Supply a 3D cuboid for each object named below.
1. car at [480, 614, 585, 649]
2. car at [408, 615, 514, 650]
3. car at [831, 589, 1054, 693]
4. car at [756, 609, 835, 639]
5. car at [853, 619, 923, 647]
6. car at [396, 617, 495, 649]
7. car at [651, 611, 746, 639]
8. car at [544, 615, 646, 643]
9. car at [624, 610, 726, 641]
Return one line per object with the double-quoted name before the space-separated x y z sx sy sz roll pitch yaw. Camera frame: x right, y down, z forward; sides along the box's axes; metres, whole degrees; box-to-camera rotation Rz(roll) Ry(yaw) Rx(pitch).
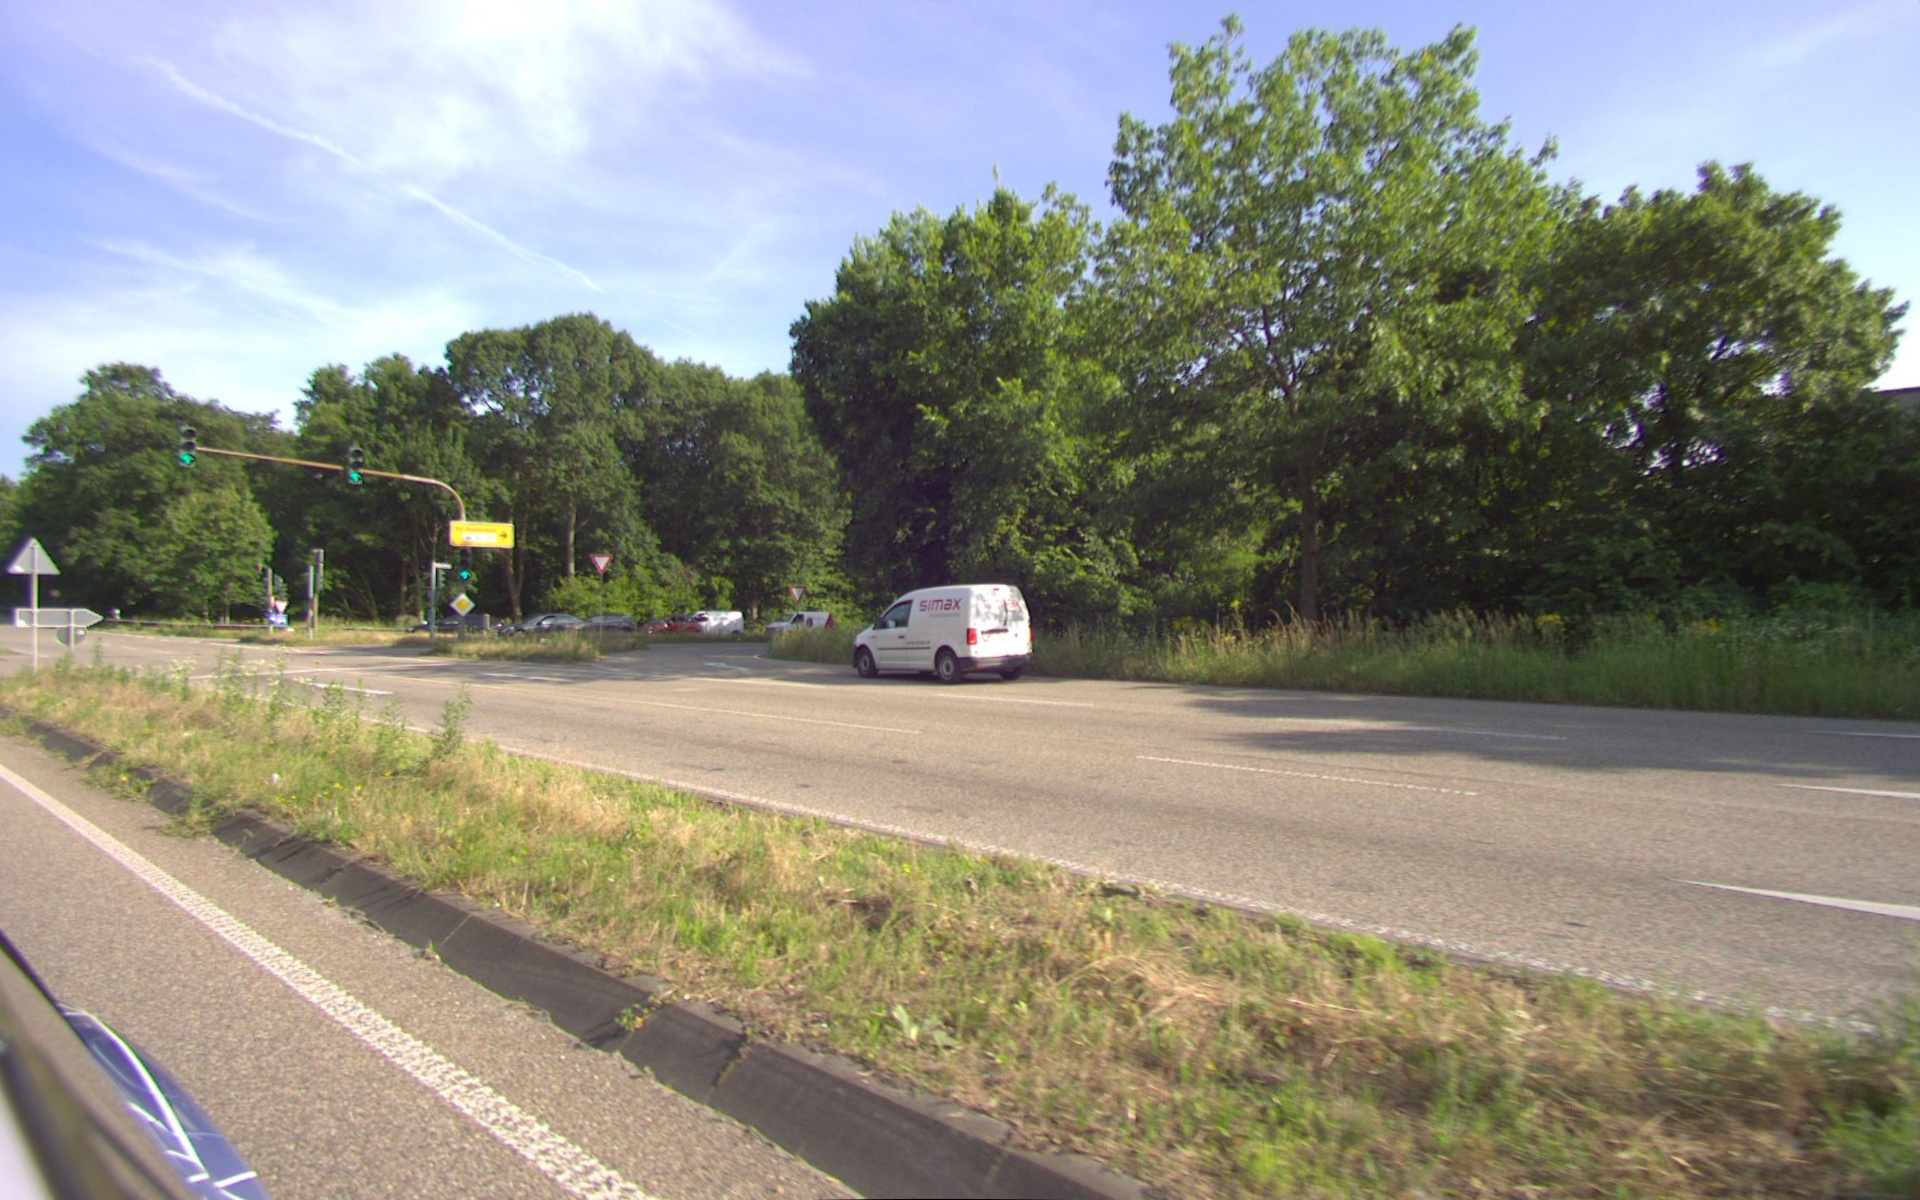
"car" -20.951 1.495 49.742 1.996 1.501 4.368 0 1 36
"car" -24.640 1.573 50.041 4.355 1.501 2.002 -1 1 -43
"car" -0.476 0.700 19.930 1.827 1.800 4.677 -1 1 -41
"car" -10.573 1.520 65.334 4.583 1.740 2.194 -1 1 -44
"car" -5.013 2.286 70.749 4.583 1.740 2.136 -1 1 -44
"car" -27.301 1.735 53.862 4.483 1.501 2.007 -1 1 -21
"car" -15.652 1.466 60.688 4.995 1.501 2.449 -1 1 -44
"car" -20.599 1.617 57.170 5.117 1.353 2.058 -1 1 -32
"car" -15.506 1.351 55.215 4.915 1.501 2.209 -1 1 -45
